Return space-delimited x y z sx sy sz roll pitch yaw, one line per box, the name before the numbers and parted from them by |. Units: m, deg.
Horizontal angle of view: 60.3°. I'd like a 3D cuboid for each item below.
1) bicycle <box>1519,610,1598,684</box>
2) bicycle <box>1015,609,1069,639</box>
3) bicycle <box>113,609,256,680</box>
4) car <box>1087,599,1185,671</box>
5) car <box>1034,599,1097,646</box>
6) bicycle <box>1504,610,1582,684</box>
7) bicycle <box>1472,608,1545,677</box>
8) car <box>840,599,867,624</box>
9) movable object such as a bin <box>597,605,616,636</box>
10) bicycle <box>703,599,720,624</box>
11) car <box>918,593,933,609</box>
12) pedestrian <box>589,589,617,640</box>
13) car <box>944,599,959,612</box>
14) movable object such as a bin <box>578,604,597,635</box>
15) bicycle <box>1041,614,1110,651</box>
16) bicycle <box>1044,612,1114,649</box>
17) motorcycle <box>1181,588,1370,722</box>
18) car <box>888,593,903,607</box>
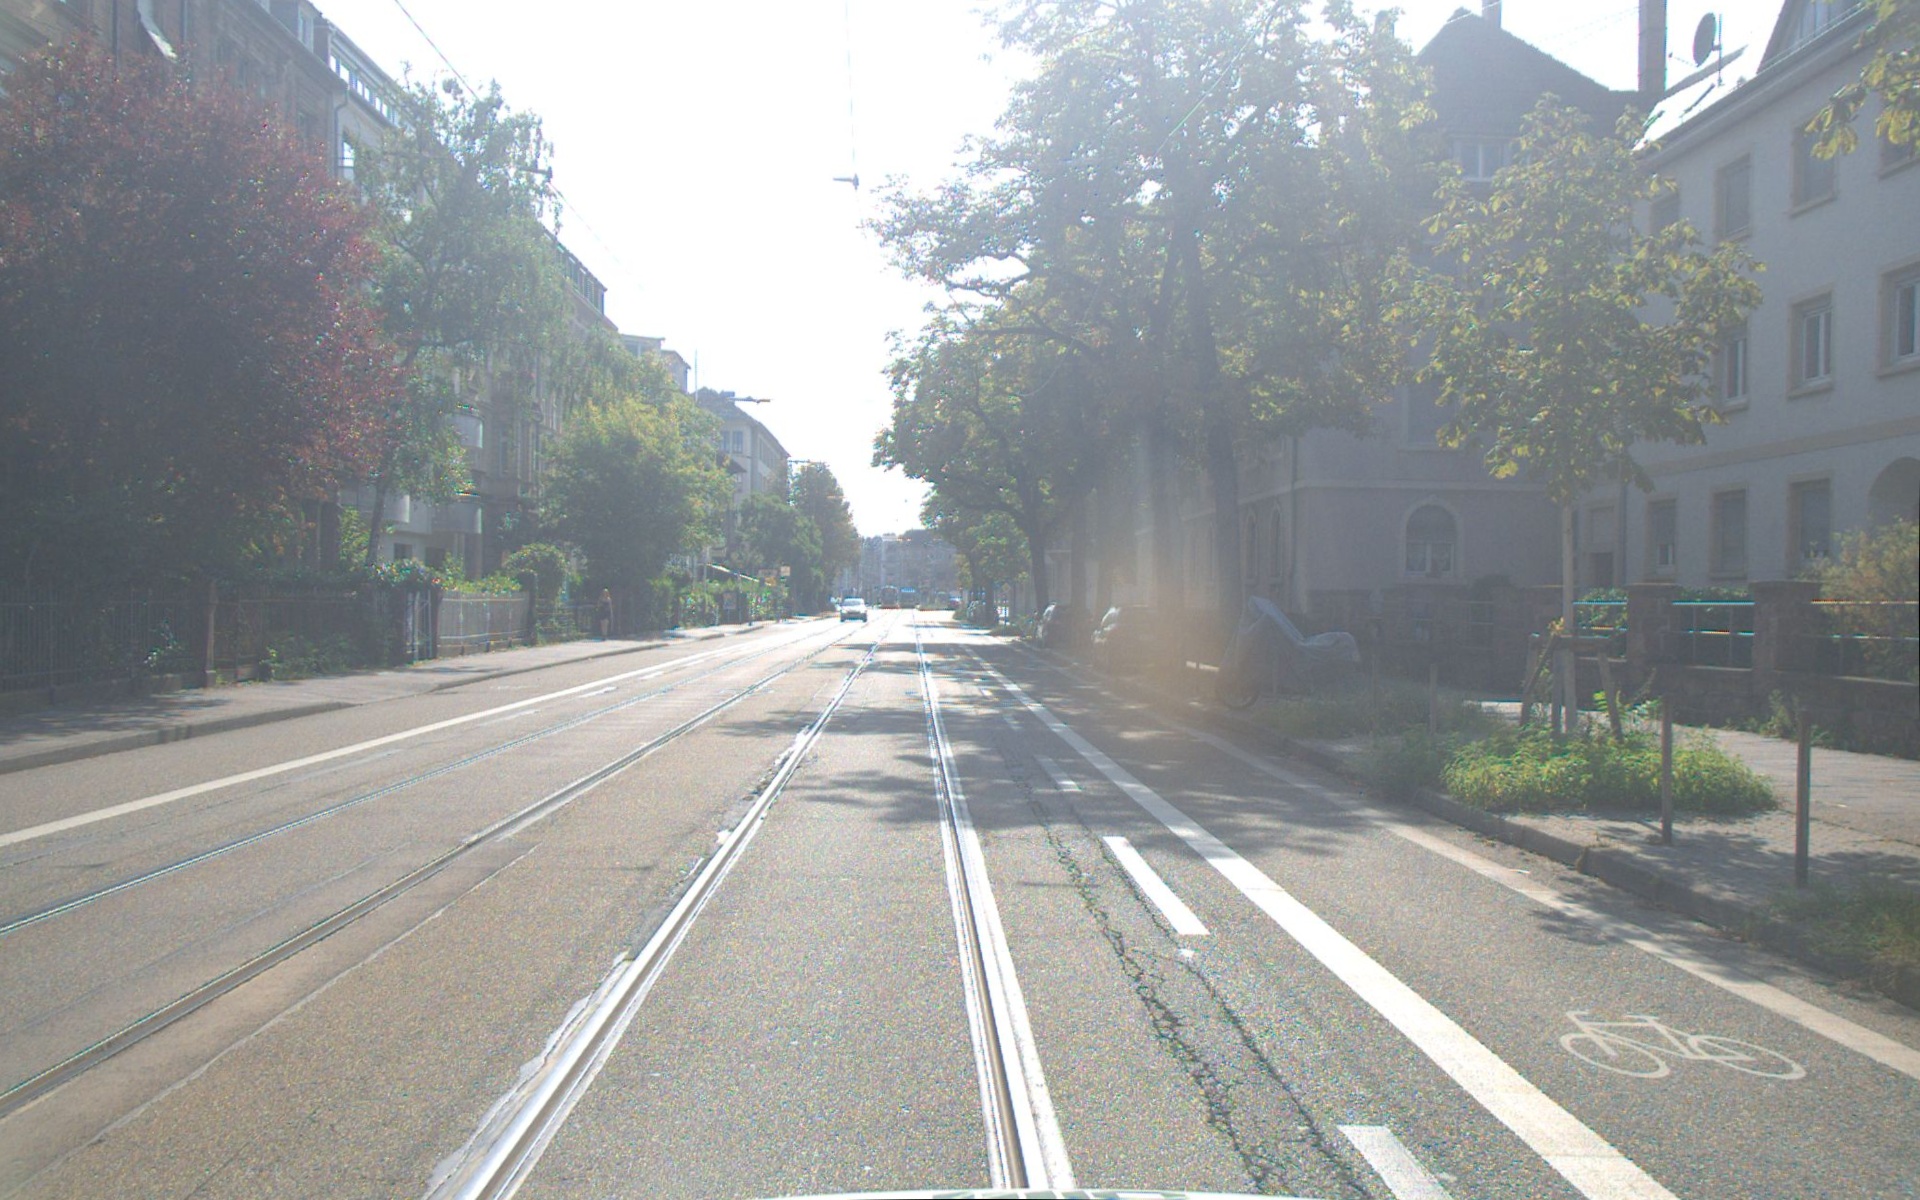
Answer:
bicycle | 9.663 0.734 26.749 0.416 1.123 1.998 1 0 -4
bicycle | 3.254 0.957 65.675 2.065 1.125 0.615 -1 0 -3
bicycle | -12.458 0.710 26.610 1.976 1.123 0.588 1 0 -5
car | 3.999 0.768 38.191 1.692 1.531 3.983 -1 0 -2
car | 3.480 0.742 55.203 1.736 1.499 3.972 0 -1 -2
bicycle | 9.412 0.735 26.768 0.416 1.123 1.998 1 0 -4
bicycle | 9.511 0.722 28.730 0.527 1.123 1.872 1 0 -4
car | -7.249 0.745 112.401 1.692 1.666 3.983 1 0 -2
movable object such as a bin | -12.615 0.720 59.027 0.619 1.097 0.703 1 0 -8
bicycle | -12.872 0.579 85.691 0.549 1.242 2.113 1 0 0
car | -4.810 0.143 231.004 1.952 2.049 4.001 2 0 1
pedestrian | -11.628 0.465 53.886 0.737 1.619 0.878 1 0 -1
car | -1.259 0.818 238.887 1.952 1.814 4.001 2 0 3
movable object such as a bin | -13.269 0.694 58.931 0.578 1.097 0.703 1 0 -8
bicycle | 3.596 1.013 51.548 2.068 1.125 0.562 1 0 -9
bicycle | 3.669 0.946 51.026 2.068 1.125 0.562 1 0 -9
motorcycle | 4.244 0.719 22.365 2.377 1.703 0.908 -1 1 43
car | -9.753 -0.041 249.275 1.952 2.049 4.000 2 0 1
